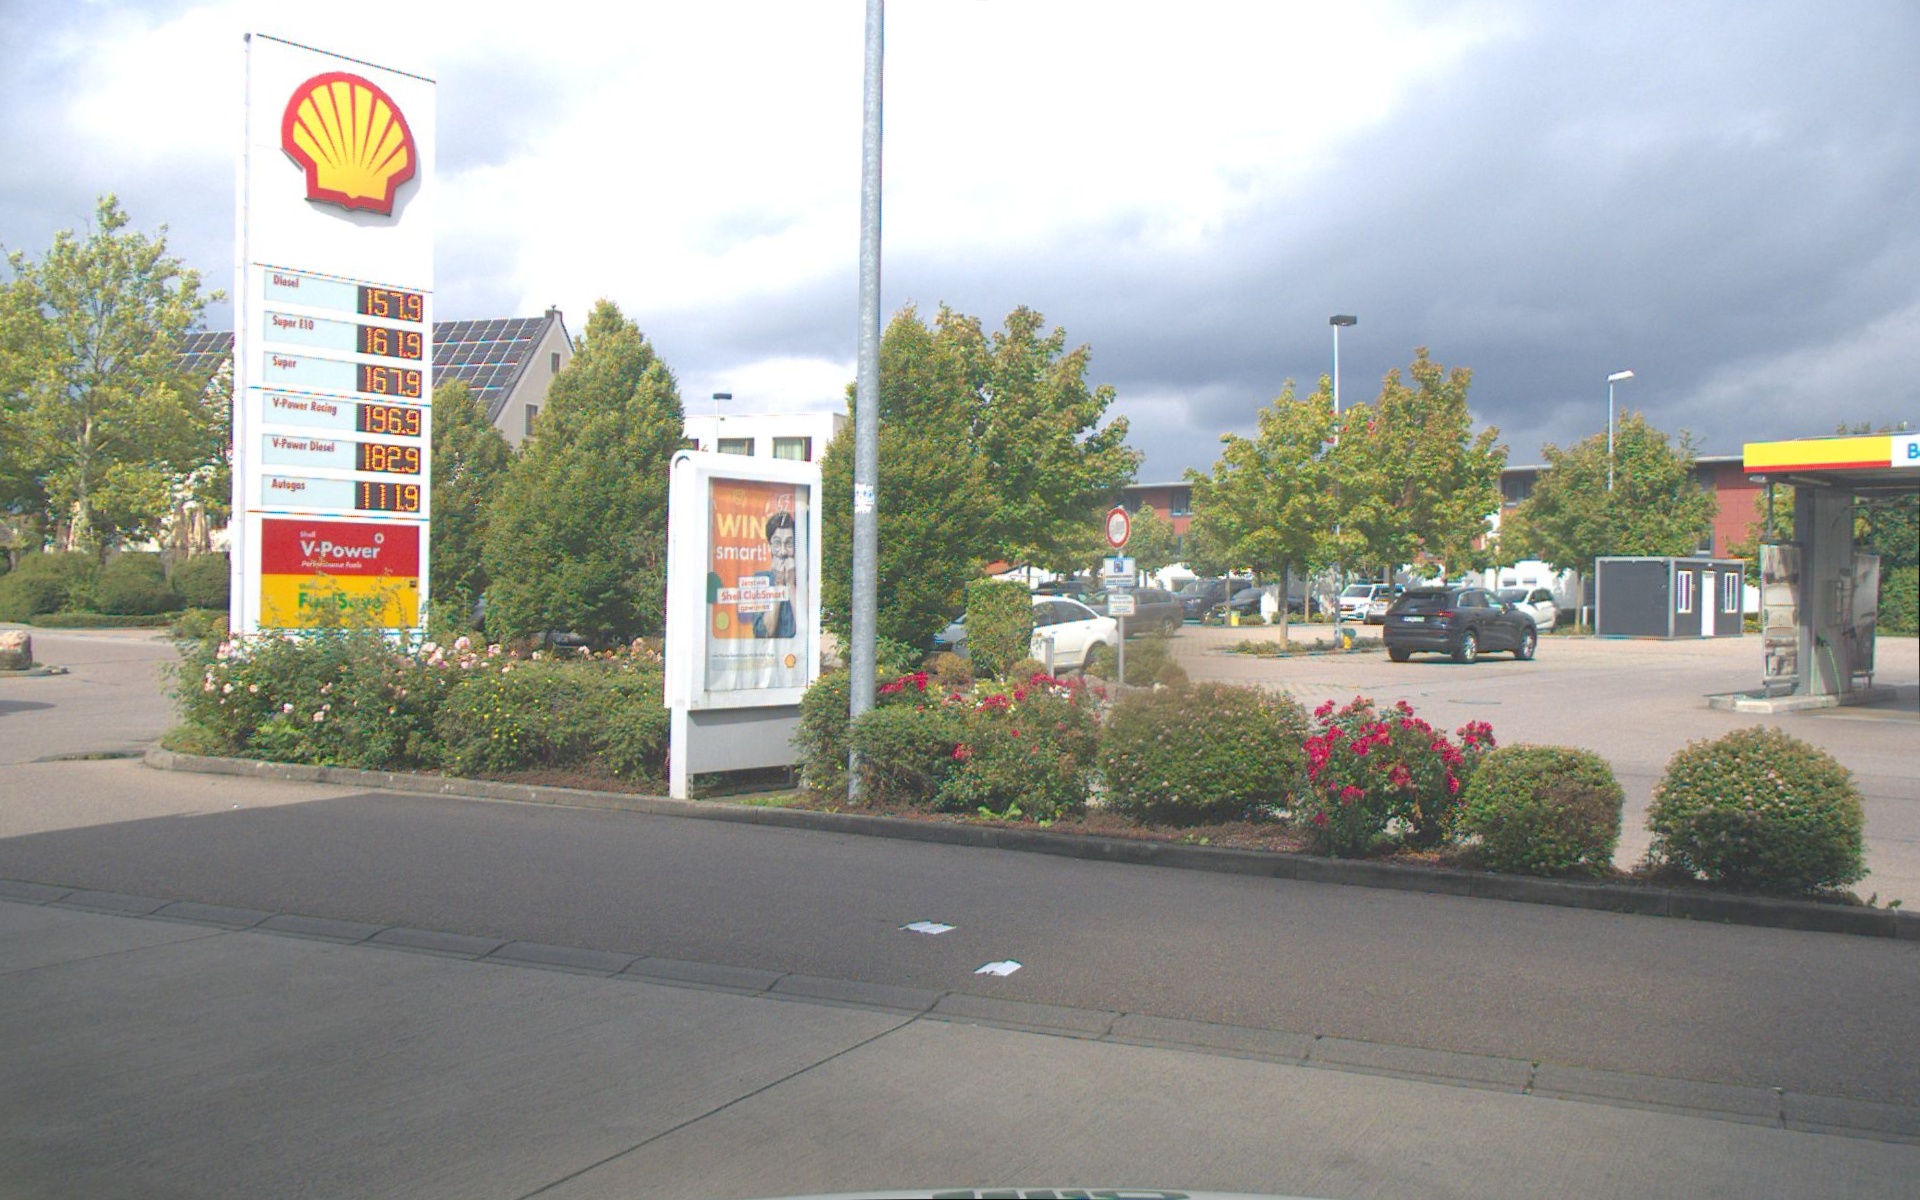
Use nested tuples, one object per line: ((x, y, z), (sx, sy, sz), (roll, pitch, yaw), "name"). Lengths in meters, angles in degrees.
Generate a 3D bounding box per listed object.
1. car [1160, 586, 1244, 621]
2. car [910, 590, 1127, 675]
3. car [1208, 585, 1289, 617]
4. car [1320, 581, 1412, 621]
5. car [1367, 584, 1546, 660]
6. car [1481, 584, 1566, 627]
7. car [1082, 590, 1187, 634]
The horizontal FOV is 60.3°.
((9.797, 0.151, 66.915), (3.364, 1.343, 1.719), (1, 0, -45), "car")
((1.124, 0.579, 29.918), (1.348, 1.428, 4.312), (1, -1, 45), "car")
((11.398, 0.048, 65.193), (3.393, 1.199, 1.462), (1, 0, -45), "car")
((19.898, 0.045, 80.930), (4.839, 1.865, 2.150), (1, 0, -44), "car")
((11.120, 0.491, 36.876), (4.467, 1.575, 1.856), (1, 0, -44), "car")
((17.995, 0.177, 52.790), (3.080, 1.330, 1.346), (1, -1, -45), "car")
((5.266, 0.371, 49.774), (3.203, 1.249, 1.481), (1, 0, -45), "car")
